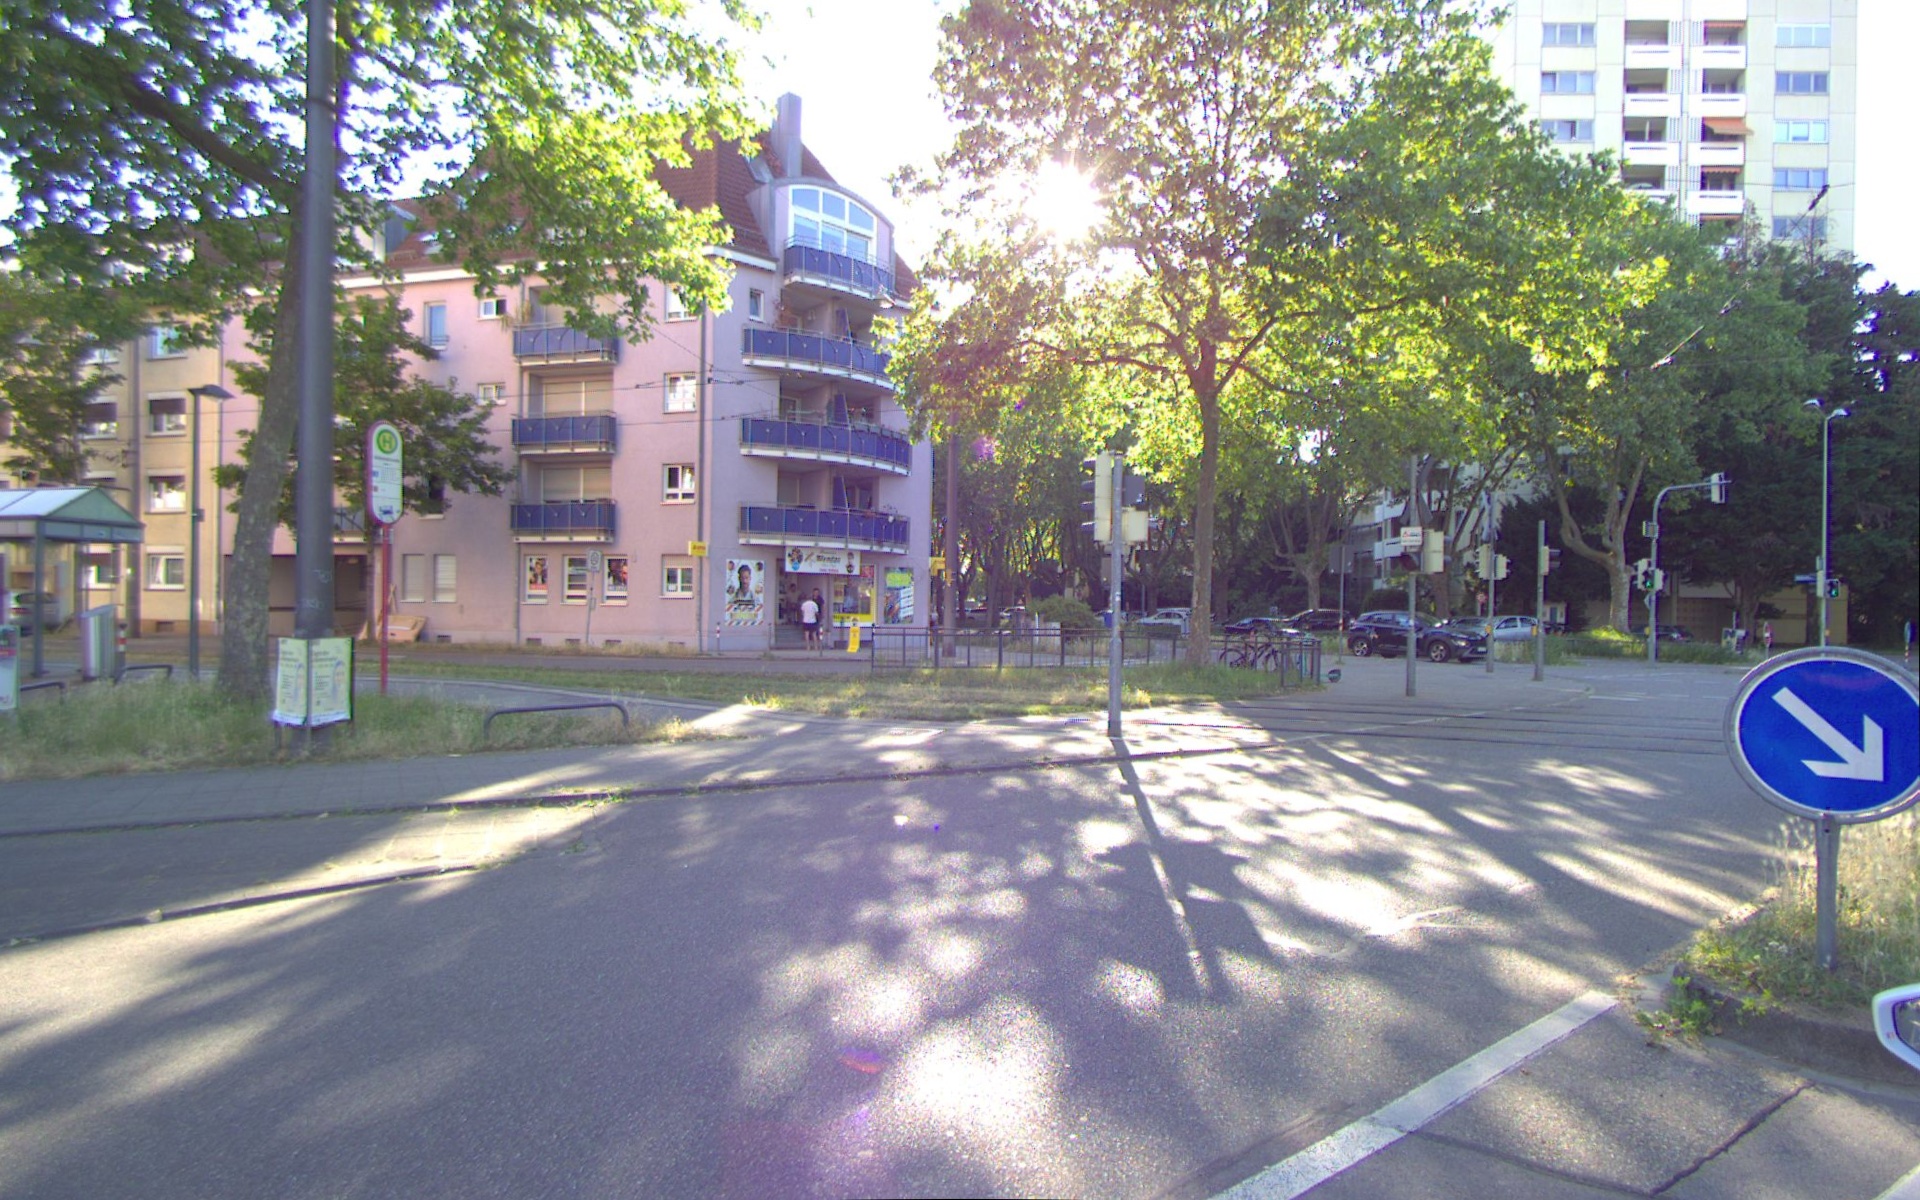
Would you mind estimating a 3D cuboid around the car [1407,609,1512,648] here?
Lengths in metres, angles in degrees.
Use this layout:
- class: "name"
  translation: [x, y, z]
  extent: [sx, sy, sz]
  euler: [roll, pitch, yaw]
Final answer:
- class: "car"
  translation: [22.841, 1.295, 46.028]
  extent: [3.921, 1.617, 1.738]
  euler: [2, 0, 0]

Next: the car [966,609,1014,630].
- class: "car"
  translation: [2.607, 1.662, 86.361]
  extent: [3.919, 1.617, 1.739]
  euler: [2, 0, 9]

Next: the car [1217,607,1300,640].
- class: "car"
  translation: [15.912, 1.236, 53.676]
  extent: [3.921, 1.617, 1.738]
  euler: [2, 0, 0]

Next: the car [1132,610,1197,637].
- class: "car"
  translation: [13.401, 1.547, 65.978]
  extent: [3.921, 1.617, 1.738]
  euler: [2, 0, 0]

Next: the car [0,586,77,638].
- class: "car"
  translation: [-33.478, 0.385, 35.212]
  extent: [4.029, 1.728, 1.940]
  euler: [2, 0, 16]

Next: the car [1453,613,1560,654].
- class: "car"
  translation: [23.880, 1.449, 43.977]
  extent: [3.732, 1.617, 1.738]
  euler: [2, 0, 0]

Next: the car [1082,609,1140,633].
- class: "car"
  translation: [11.083, 1.518, 73.892]
  extent: [3.921, 1.617, 1.738]
  euler: [2, 0, 0]

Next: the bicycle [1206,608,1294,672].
- class: "bicycle"
  translation: [6.401, 0.874, 22.240]
  extent: [1.811, 1.324, 0.382]
  euler: [2, 0, 34]

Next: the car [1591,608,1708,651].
- class: "car"
  translation: [31.622, 1.342, 46.197]
  extent: [1.971, 1.798, 3.979]
  euler: [2, 0, -22]

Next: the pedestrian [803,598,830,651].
- class: "pedestrian"
  translation: [-4.673, 0.783, 32.661]
  extent: [0.610, 1.689, 0.549]
  euler: [2, 0, 38]

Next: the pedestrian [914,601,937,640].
- class: "pedestrian"
  translation: [-1.544, 0.906, 44.624]
  extent: [0.910, 1.689, 0.619]
  euler: [2, 0, -11]

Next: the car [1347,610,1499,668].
- class: "car"
  translation: [14.386, 1.172, 31.385]
  extent: [1.722, 1.617, 3.959]
  euler: [2, 0, -36]

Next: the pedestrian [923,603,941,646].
- class: "pedestrian"
  translation: [-1.117, 0.980, 39.910]
  extent: [0.542, 1.689, 0.618]
  euler: [2, 0, -17]

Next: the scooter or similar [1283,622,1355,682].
- class: "scooter or similar"
  translation: [7.923, 1.146, 22.199]
  extent: [1.412, 1.255, 0.414]
  euler: [2, 0, 9]
